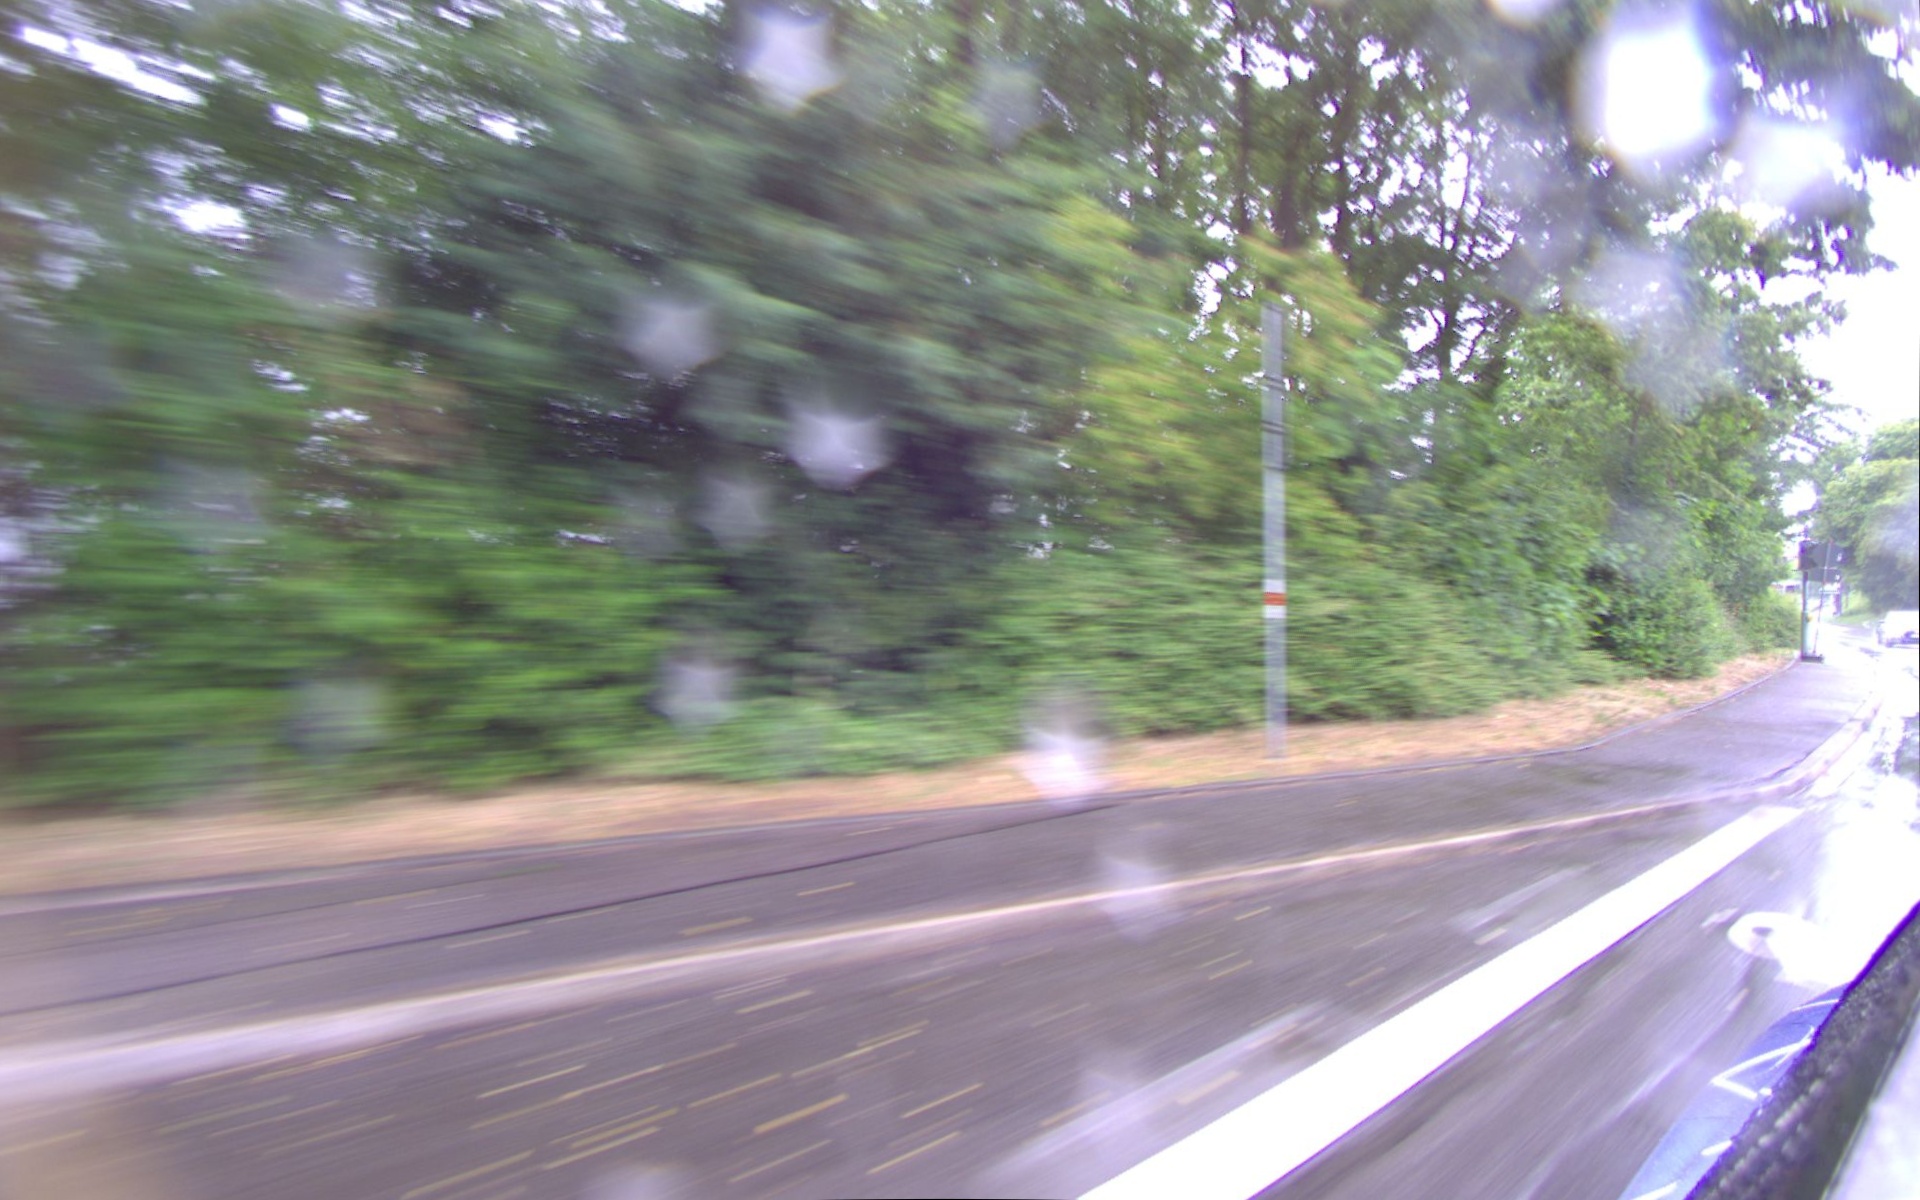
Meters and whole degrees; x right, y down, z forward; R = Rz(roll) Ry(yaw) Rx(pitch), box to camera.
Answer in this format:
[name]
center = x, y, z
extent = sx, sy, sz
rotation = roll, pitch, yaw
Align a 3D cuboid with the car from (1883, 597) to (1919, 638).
[car]
center = 37.676, 0.653, 39.571
extent = 1.788, 1.572, 3.950
rotation = 0, 0, 34
